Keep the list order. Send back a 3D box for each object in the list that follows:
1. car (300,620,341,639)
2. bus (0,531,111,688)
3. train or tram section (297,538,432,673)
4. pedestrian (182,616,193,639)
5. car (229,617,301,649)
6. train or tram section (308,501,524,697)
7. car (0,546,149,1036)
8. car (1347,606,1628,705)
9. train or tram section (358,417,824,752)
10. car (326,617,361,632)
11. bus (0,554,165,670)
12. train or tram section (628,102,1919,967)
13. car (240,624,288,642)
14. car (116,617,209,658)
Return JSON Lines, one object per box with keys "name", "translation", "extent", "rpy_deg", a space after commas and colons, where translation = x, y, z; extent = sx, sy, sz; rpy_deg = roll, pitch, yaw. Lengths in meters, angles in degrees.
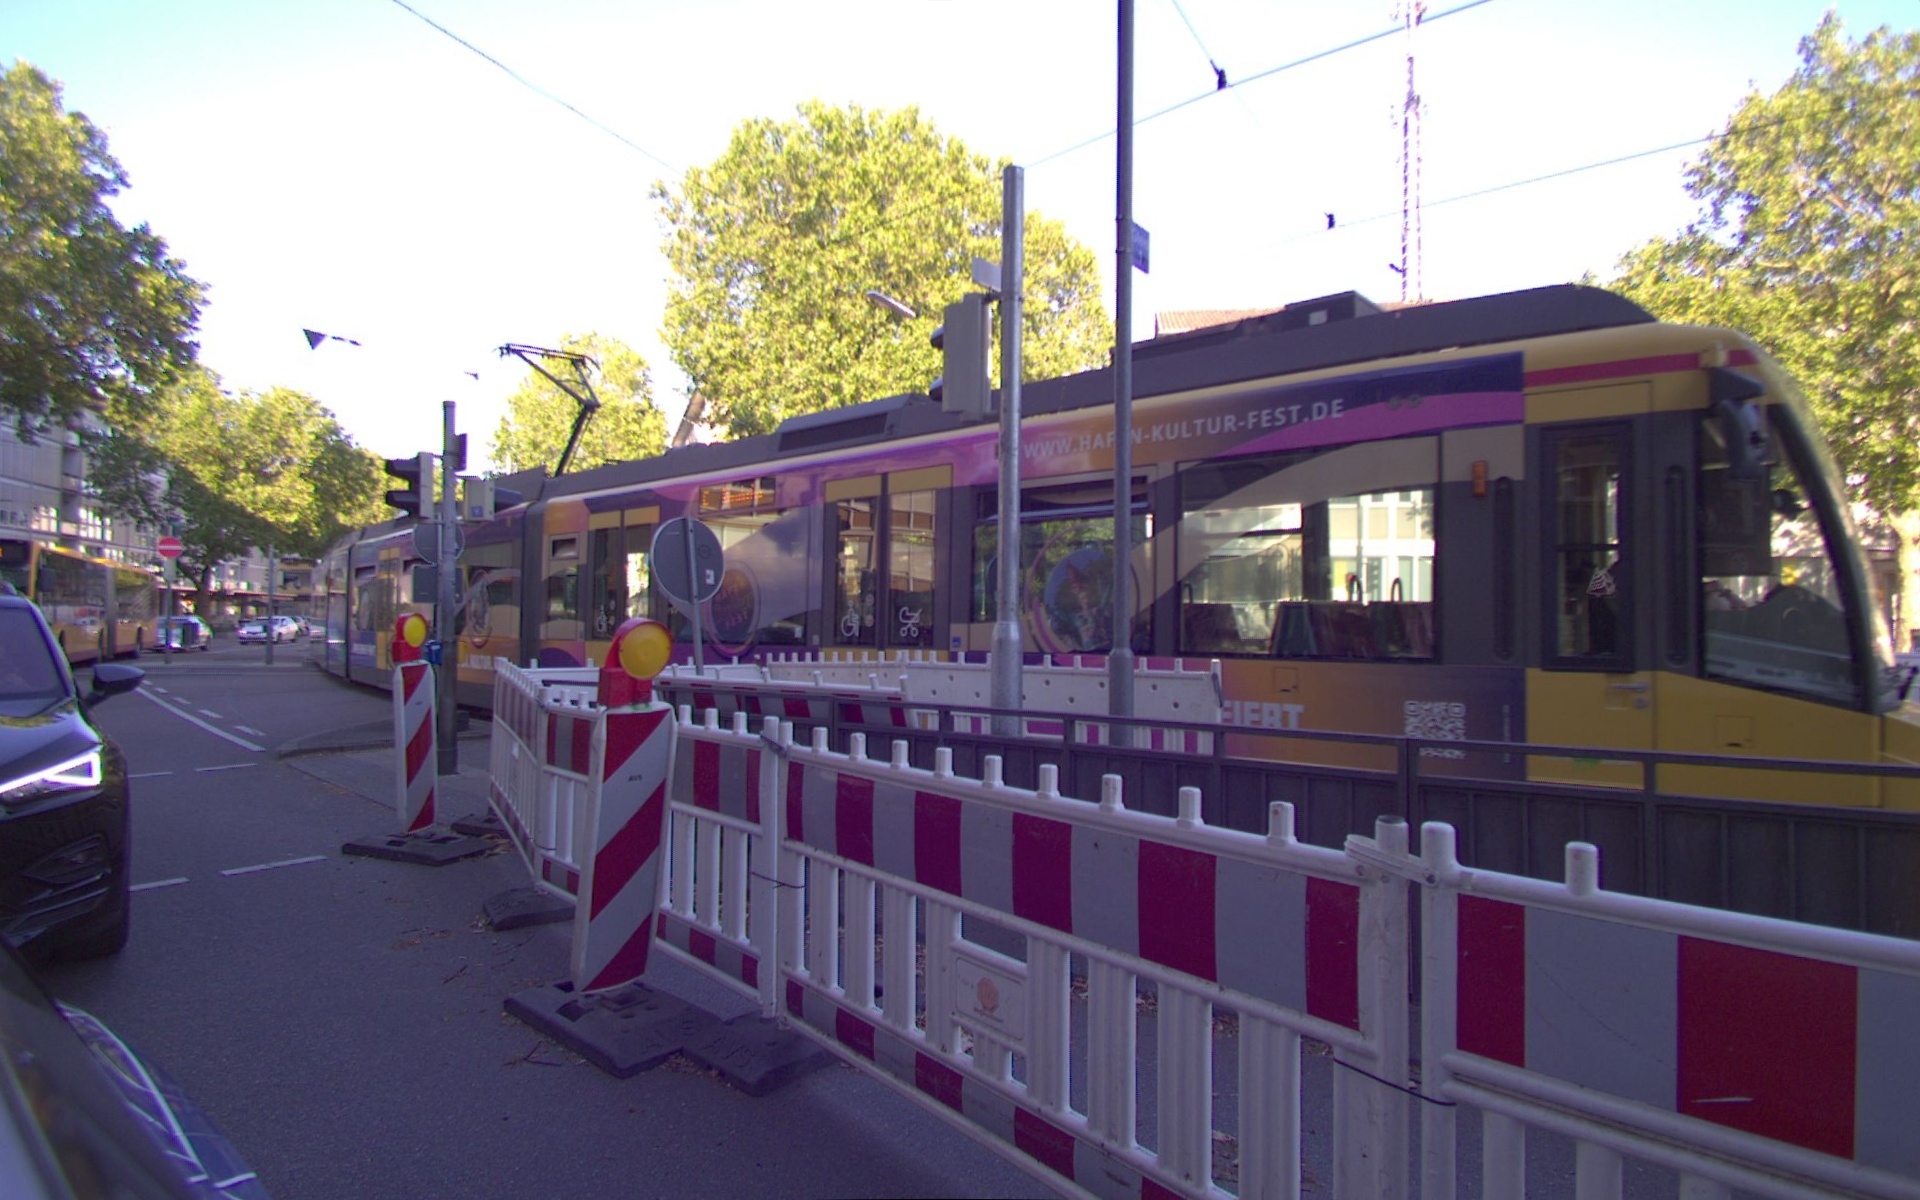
{"name": "car", "translation": [-52.362, 2.397, 82.926], "extent": [1.201, 1.484, 2.592], "rpy_deg": [0, -1, 43]}
{"name": "bus", "translation": [-22.351, 0.254, 23.760], "extent": [2.709, 3.127, 9.521], "rpy_deg": [1, -2, -34]}
{"name": "train or tram section", "translation": [-18.759, 0.227, 31.500], "extent": [2.797, 3.514, 10.364], "rpy_deg": [1, -1, -35]}
{"name": "pedestrian", "translation": [-56.765, 2.040, 74.369], "extent": [0.508, 1.669, 0.572], "rpy_deg": [0, -1, -22]}
{"name": "car", "translation": [-37.041, 1.743, 54.092], "extent": [1.923, 1.562, 4.771], "rpy_deg": [1, -1, -19]}
{"name": "train or tram section", "translation": [-12.814, 0.065, 23.204], "extent": [2.833, 3.514, 10.361], "rpy_deg": [1, -1, -37]}
{"name": "car", "translation": [-5.169, 0.684, 4.603], "extent": [4.300, 1.670, 1.823], "rpy_deg": [-1, -1, 45]}
{"name": "car", "translation": [10.020, 0.978, 19.373], "extent": [4.576, 1.679, 1.878], "rpy_deg": [-1, 0, 35]}
{"name": "train or tram section", "translation": [-6.238, -0.084, 15.361], "extent": [2.802, 3.514, 10.348], "rpy_deg": [1, -1, -43]}
{"name": "car", "translation": [-58.064, 2.292, 95.371], "extent": [1.201, 1.399, 2.592], "rpy_deg": [0, -1, 43]}
{"name": "bus", "translation": [-27.480, 0.407, 31.788], "extent": [2.708, 3.127, 9.525], "rpy_deg": [1, -2, -31]}
{"name": "train or tram section", "translation": [1.234, -0.200, 8.372], "extent": [10.335, 3.514, 2.786], "rpy_deg": [-1, -1, 42]}
{"name": "car", "translation": [-50.901, 2.389, 74.034], "extent": [1.198, 1.226, 2.599], "rpy_deg": [0, -1, 34]}
{"name": "car", "translation": [-32.032, 1.471, 40.776], "extent": [1.880, 1.486, 4.433], "rpy_deg": [1, -1, -24]}
